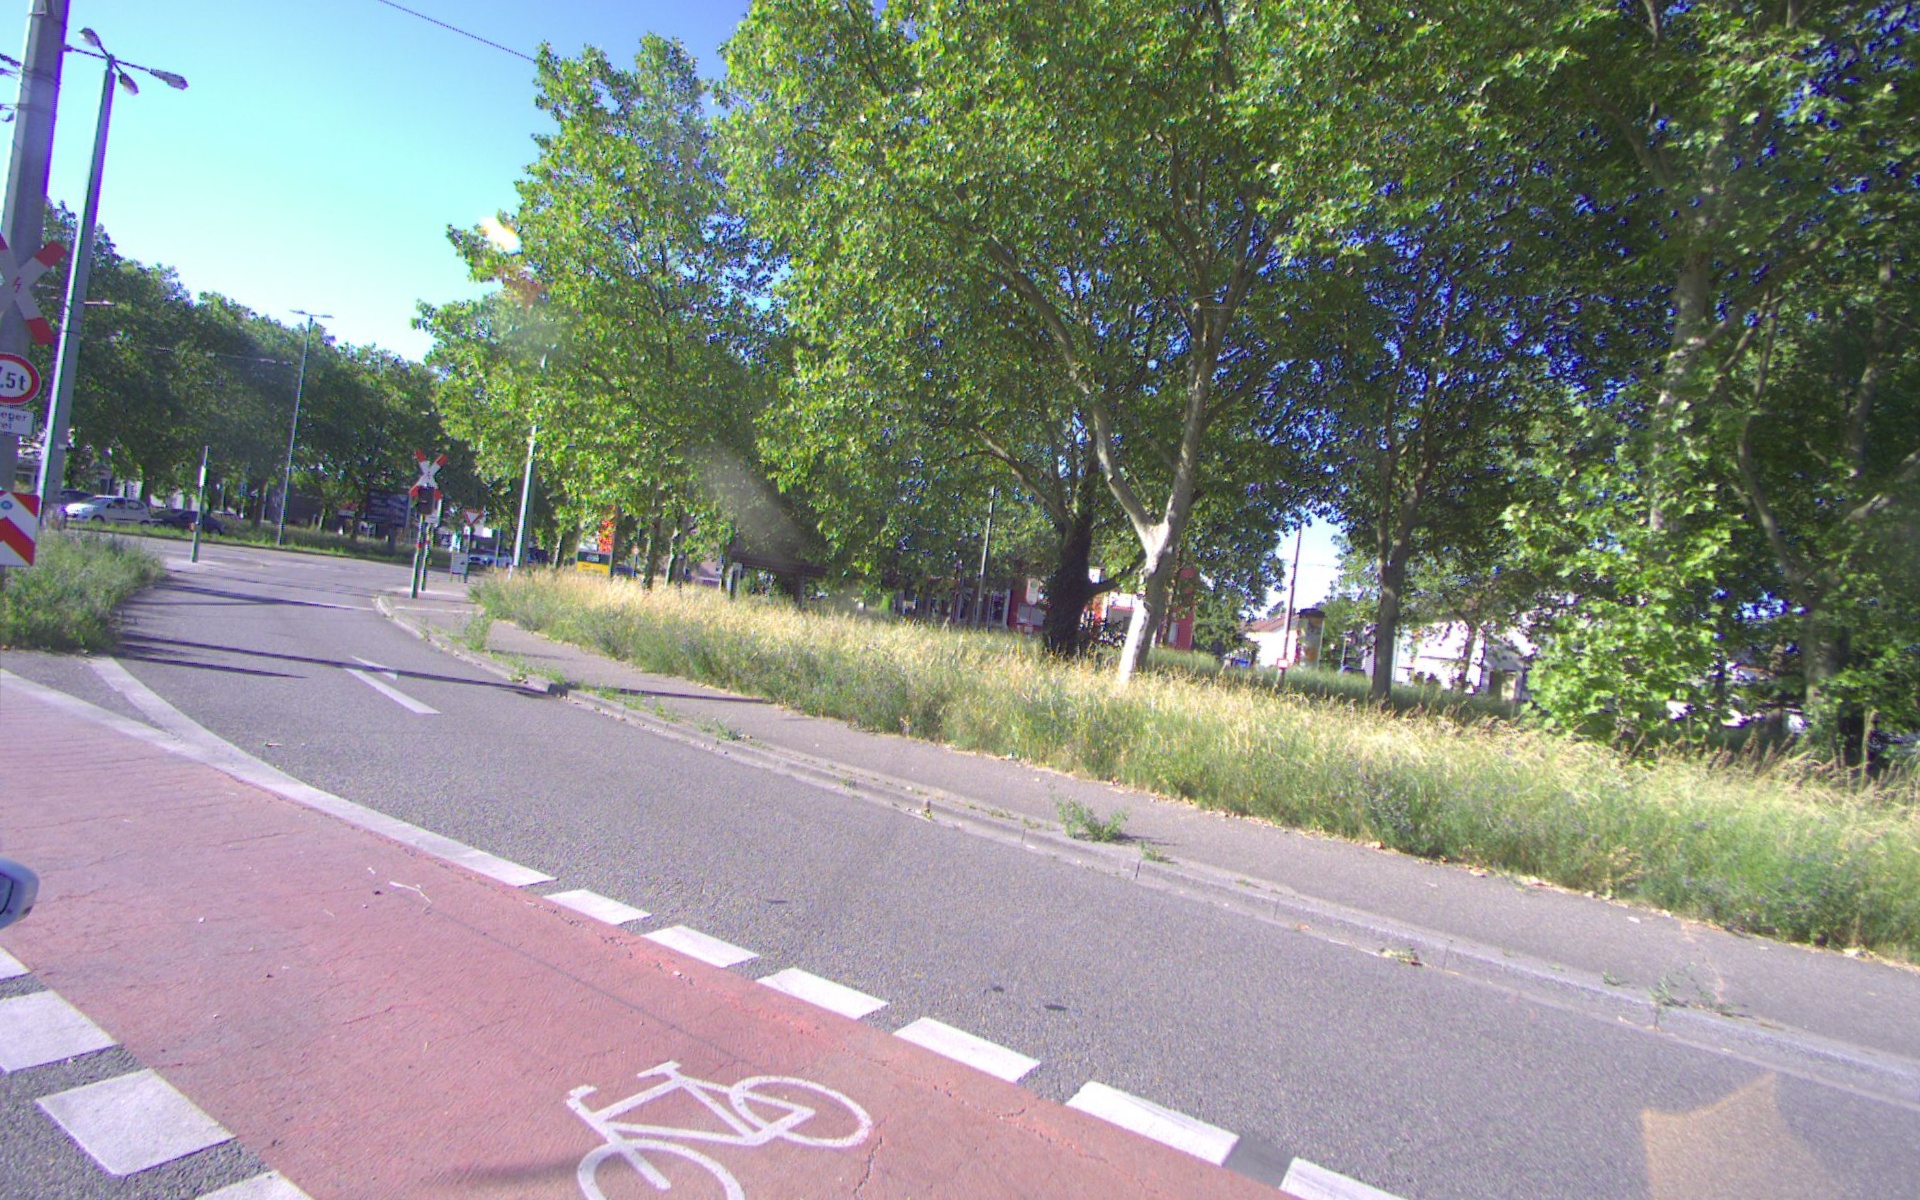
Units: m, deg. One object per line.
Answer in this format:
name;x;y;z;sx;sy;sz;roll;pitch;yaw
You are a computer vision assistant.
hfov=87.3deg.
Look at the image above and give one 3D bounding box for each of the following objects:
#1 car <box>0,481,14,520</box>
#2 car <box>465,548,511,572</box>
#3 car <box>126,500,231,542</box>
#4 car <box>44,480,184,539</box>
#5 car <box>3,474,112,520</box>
car;-41.043;-4.321;40.574;1.575;1.549;4.002;7;0;9
car;-39.890;-3.371;85.097;1.563;1.519;4.002;7;-1;5
car;-42.931;-4.307;55.421;1.661;1.593;4.528;7;-1;9
car;-40.469;-4.286;48.297;1.962;2.038;4.907;7;-1;9
car;-44.027;-4.974;49.192;1.462;1.589;3.758;7;-1;9
